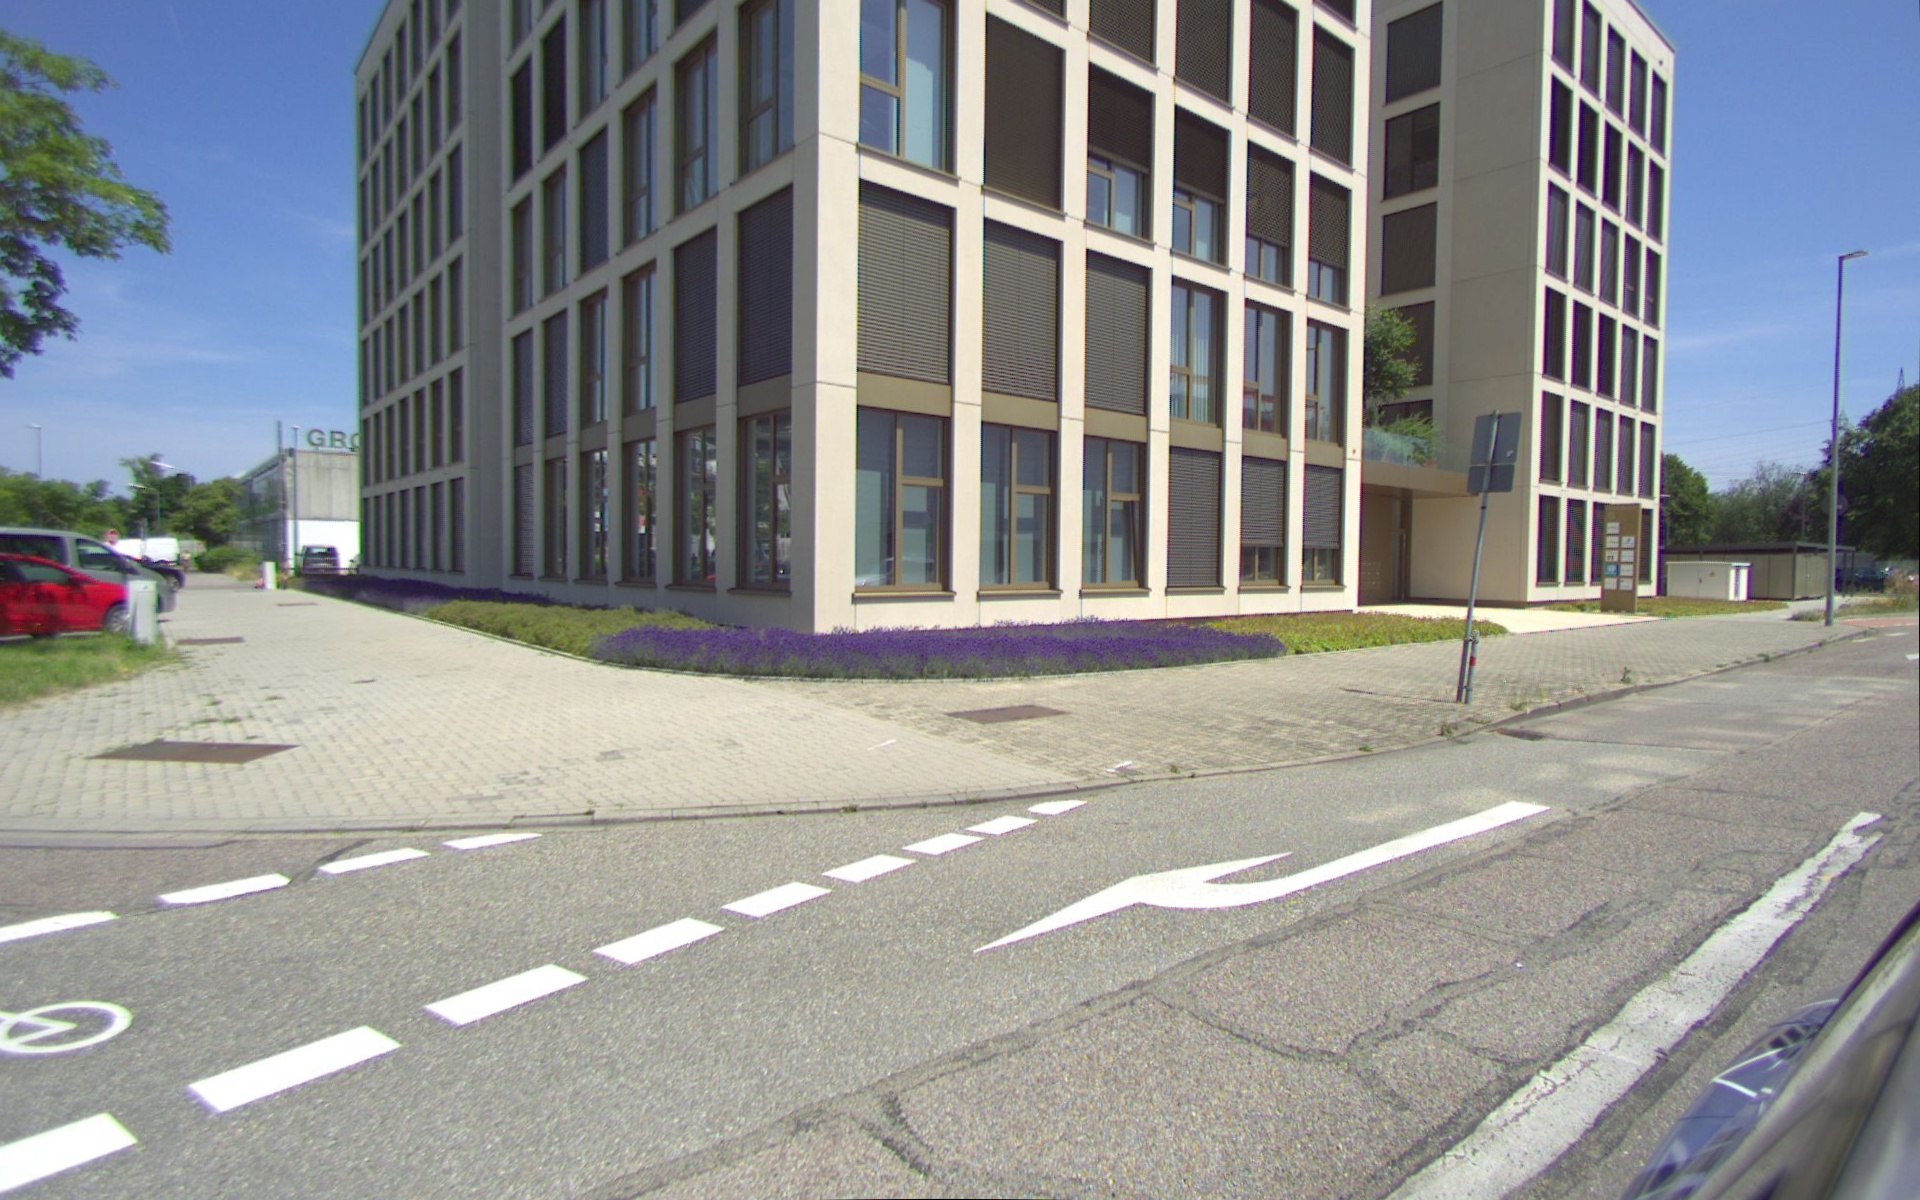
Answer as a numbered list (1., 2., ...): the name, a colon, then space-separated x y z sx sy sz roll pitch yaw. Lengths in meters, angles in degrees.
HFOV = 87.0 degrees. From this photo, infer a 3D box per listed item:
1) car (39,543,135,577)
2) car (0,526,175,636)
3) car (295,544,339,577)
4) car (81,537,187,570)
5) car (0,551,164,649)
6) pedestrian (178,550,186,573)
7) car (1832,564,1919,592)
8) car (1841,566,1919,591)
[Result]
1. car: -54.742 -2.472 63.598 4.495 2.039 1.997 -1 1 -40
2. car: -17.522 -0.366 18.742 1.886 1.910 4.927 1 2 5
3. car: -37.336 -2.267 58.727 1.763 1.749 3.997 -1 1 -38
4. car: -66.951 -3.729 82.172 6.573 2.552 2.217 -1 1 -38
5. car: -15.106 -0.030 15.900 1.672 1.449 3.990 0 3 10
6. pedestrian: -53.467 -2.619 69.532 0.397 1.578 0.549 -1 2 -39
7. car: 54.095 -1.343 59.689 3.810 1.571 1.716 2 3 36
8. car: 55.693 -1.309 60.945 3.810 1.411 1.716 2 3 36
